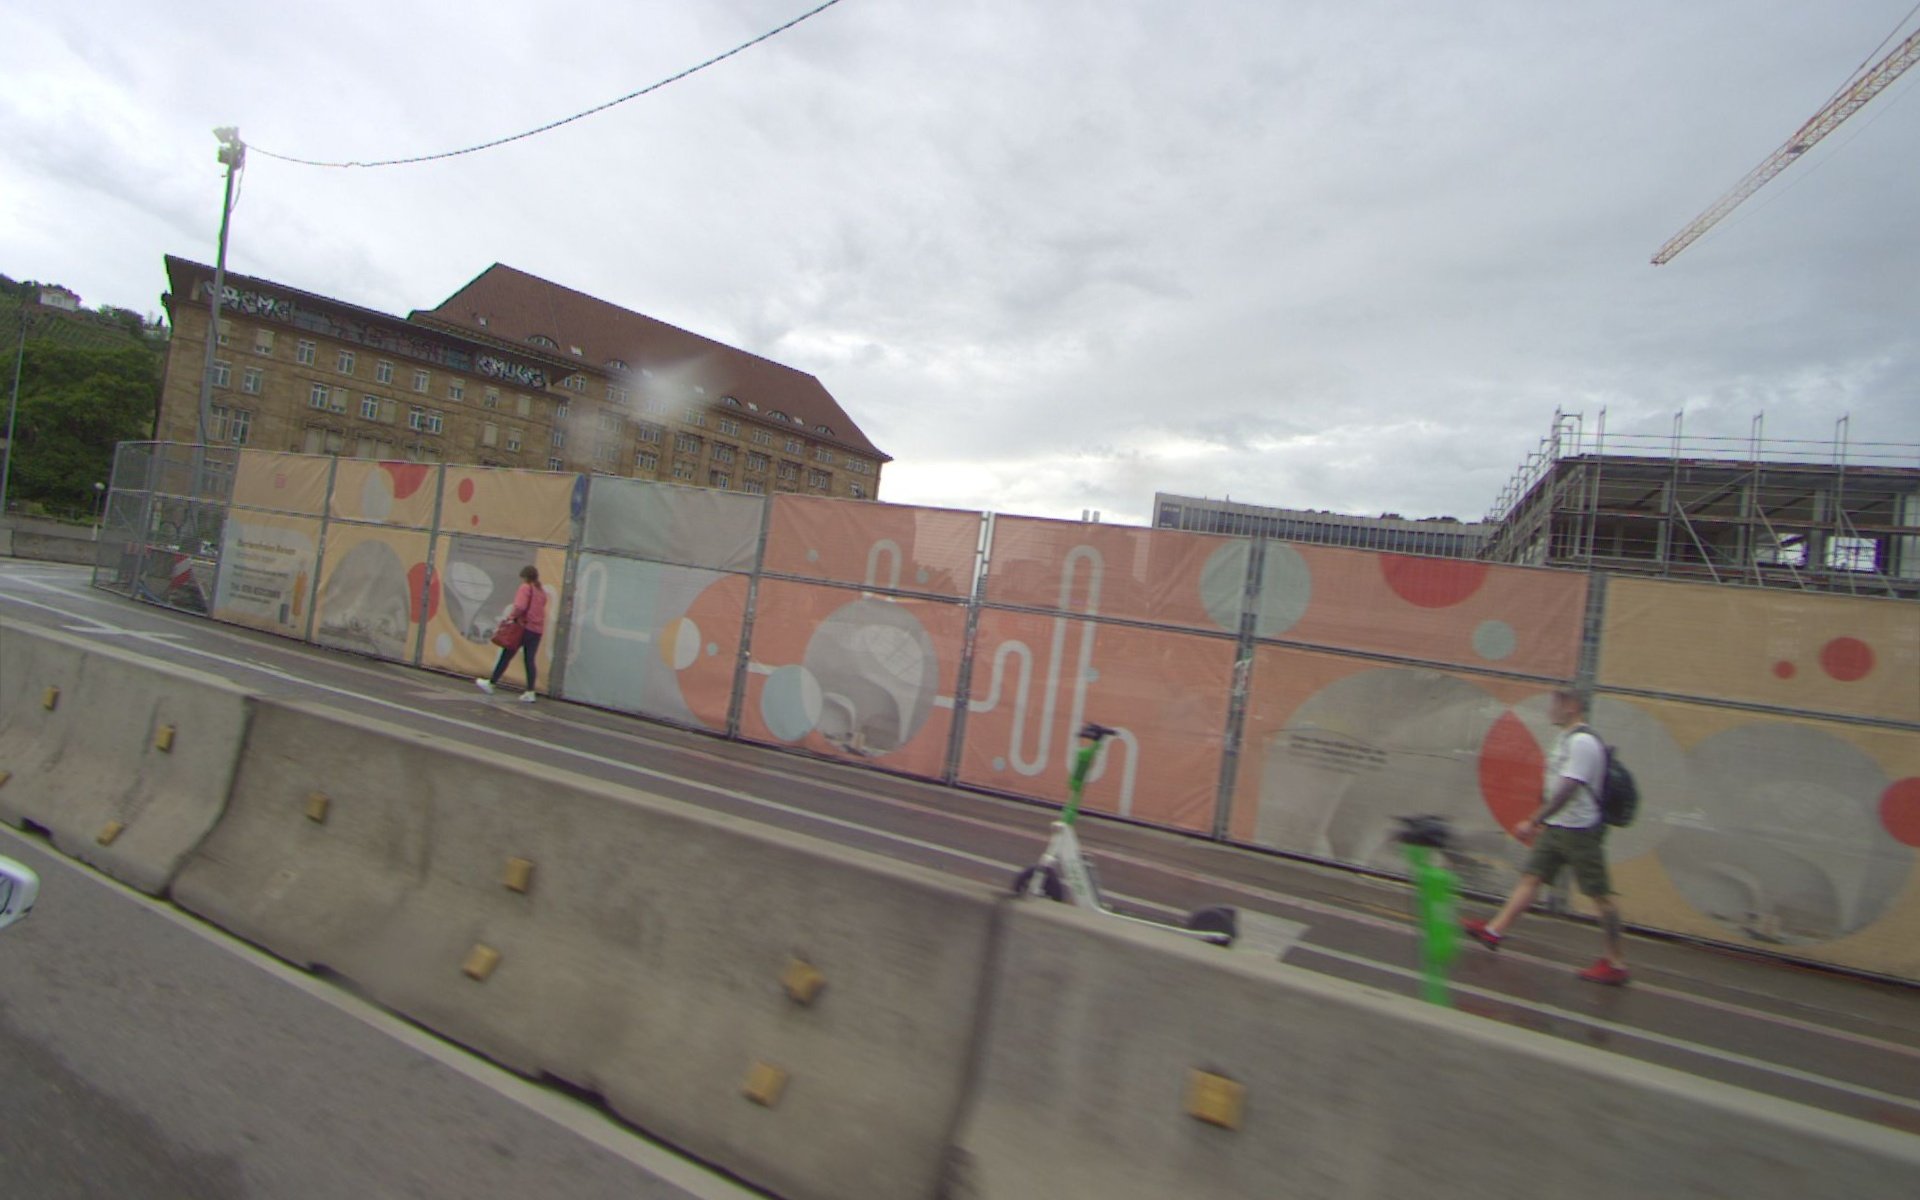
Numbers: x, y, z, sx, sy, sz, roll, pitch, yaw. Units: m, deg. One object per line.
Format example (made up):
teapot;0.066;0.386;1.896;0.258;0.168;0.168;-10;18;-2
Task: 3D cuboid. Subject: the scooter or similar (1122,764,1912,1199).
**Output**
scooter or similar;1.359;1.206;2.717;1.545;1.228;0.676;7;-2;32

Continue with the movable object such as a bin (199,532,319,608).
movable object such as a bin;-16.251;-0.678;23.367;1.168;1.488;1.891;6;-1;32

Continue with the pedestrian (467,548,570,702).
pedestrian;-5.747;0.340;13.119;0.696;1.887;0.721;7;-1;25

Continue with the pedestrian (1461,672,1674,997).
pedestrian;4.028;1.500;6.761;0.973;1.887;0.706;7;-1;27

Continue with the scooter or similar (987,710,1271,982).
scooter or similar;0.957;1.332;5.681;1.388;1.197;0.469;7;-1;17
